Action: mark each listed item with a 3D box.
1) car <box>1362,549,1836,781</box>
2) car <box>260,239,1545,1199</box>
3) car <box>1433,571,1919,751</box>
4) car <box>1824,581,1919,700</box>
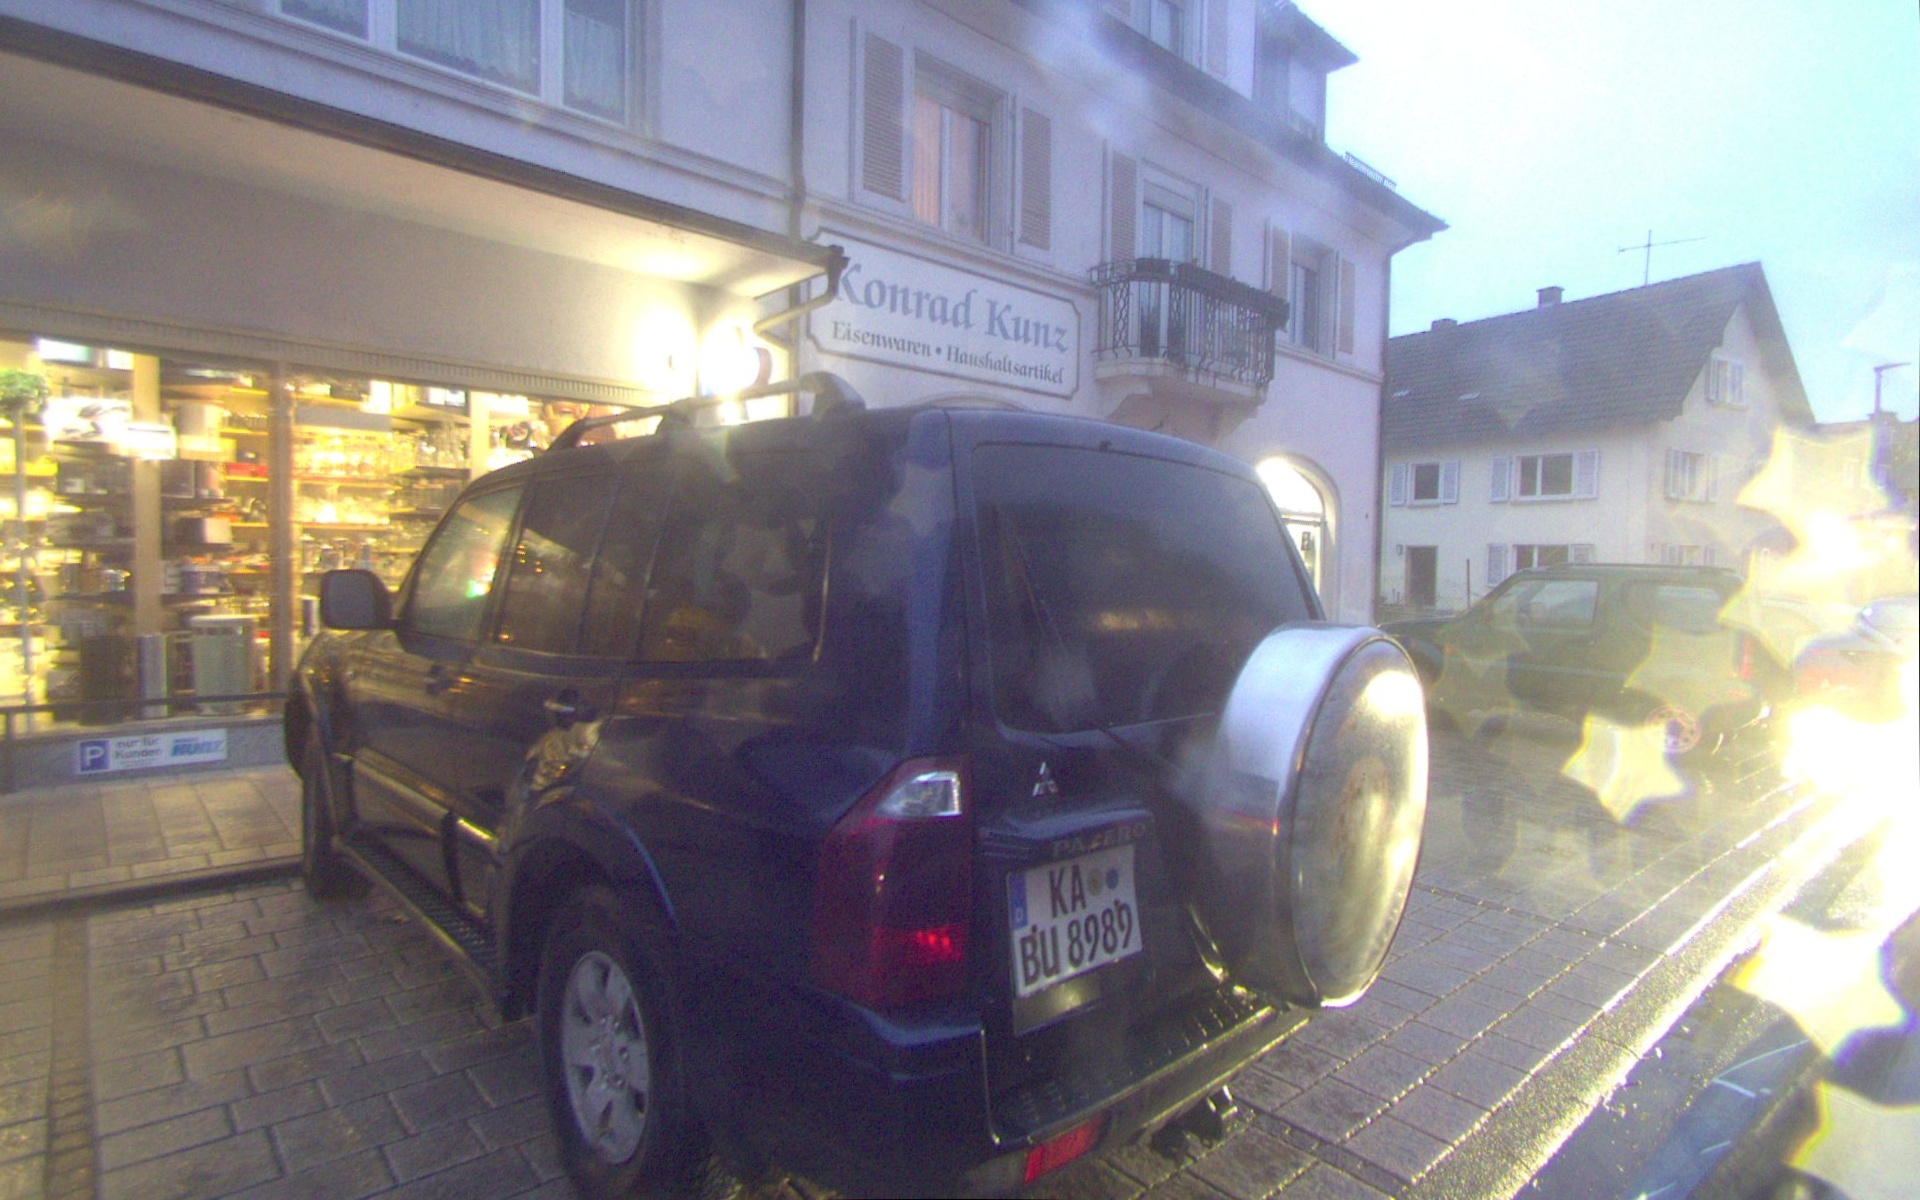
[{"bbox_3d":[5.996,0.449,9.745,1.688,1.701,3.507,0,4,-45],"label":"car"},{"bbox_3d":[-0.829,0.370,3.542,1.913,1.797,4.608,1,2,-44],"label":"car"},{"bbox_3d":[8.111,0.517,11.587,1.865,1.491,4.476,1,3,-41],"label":"car"},{"bbox_3d":[14.795,0.580,15.175,4.586,1.566,1.888,0,3,-38],"label":"car"}]
